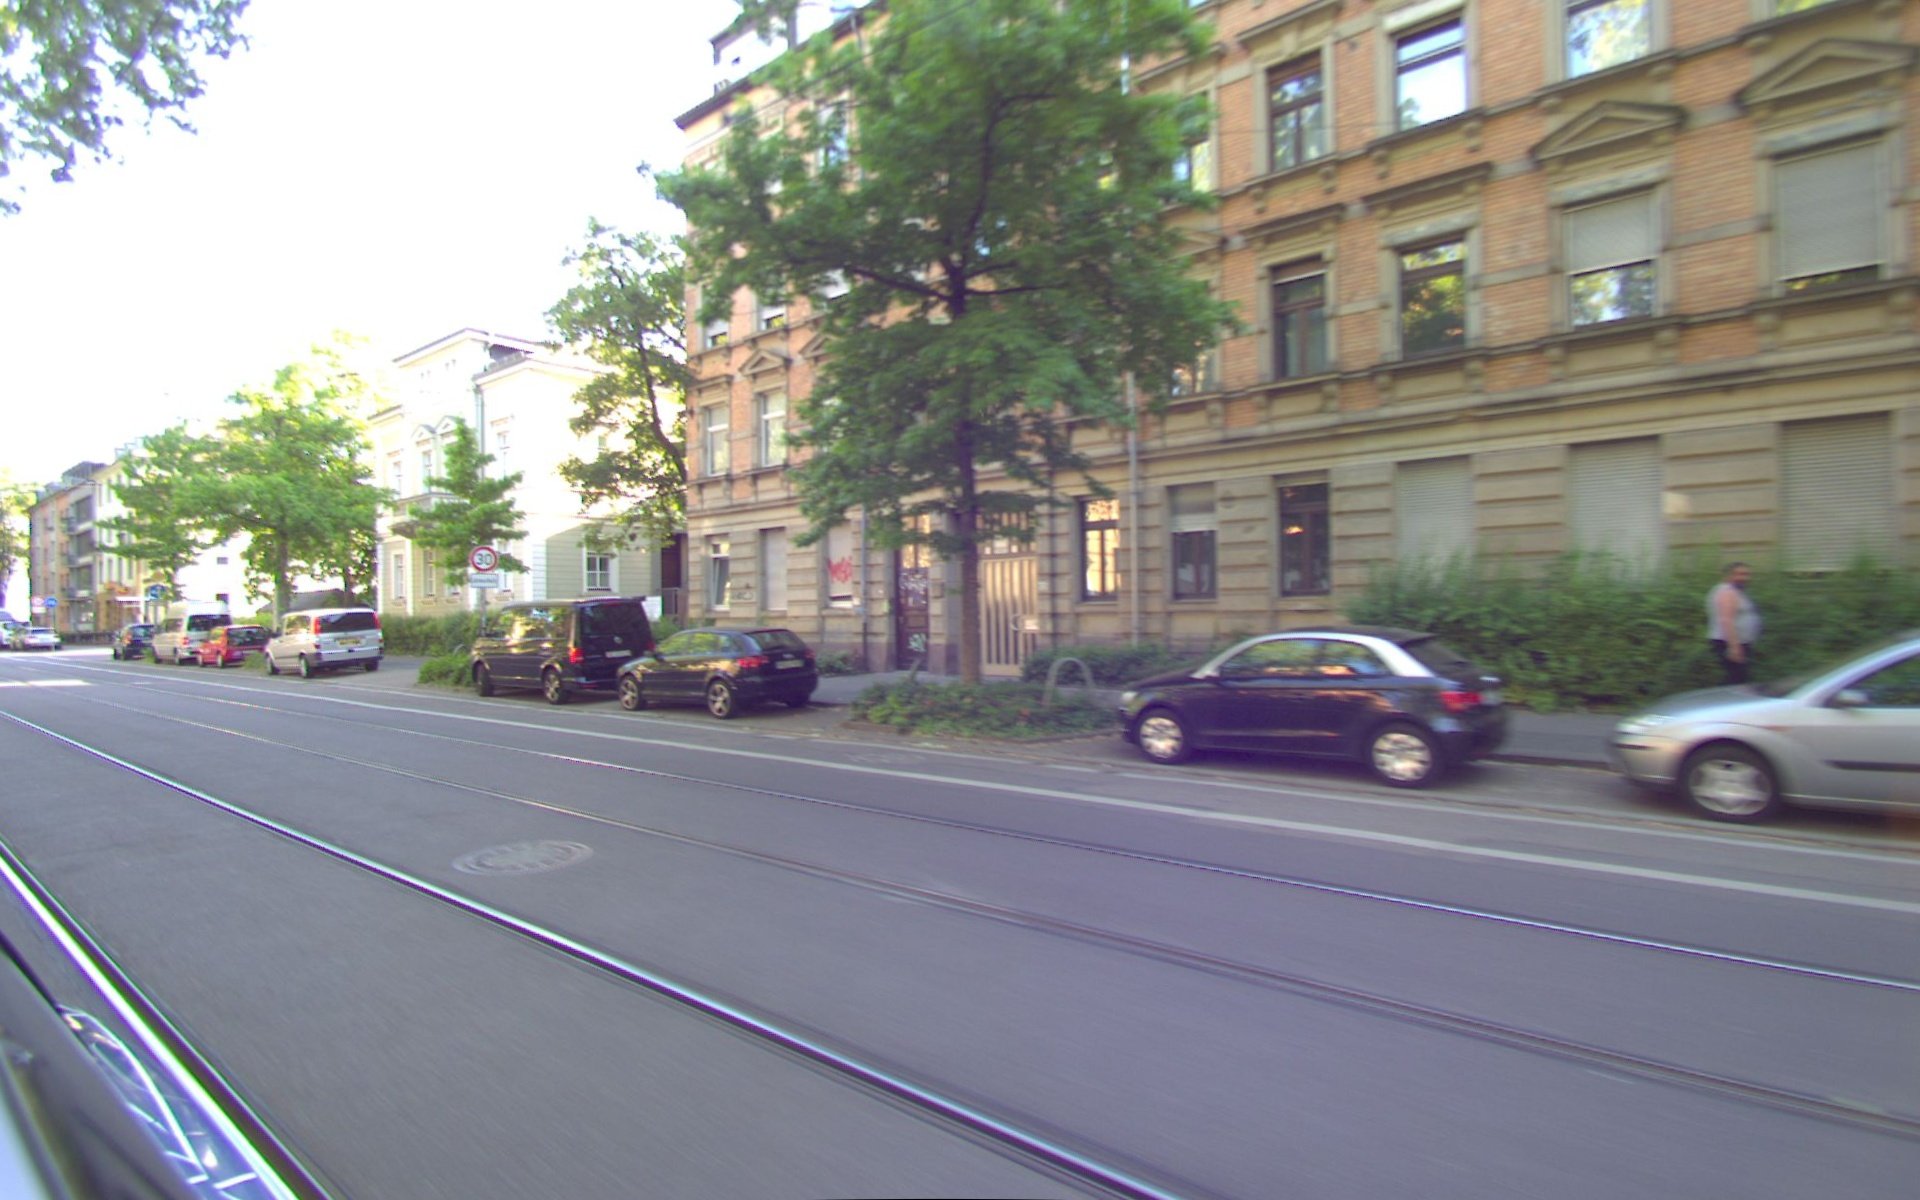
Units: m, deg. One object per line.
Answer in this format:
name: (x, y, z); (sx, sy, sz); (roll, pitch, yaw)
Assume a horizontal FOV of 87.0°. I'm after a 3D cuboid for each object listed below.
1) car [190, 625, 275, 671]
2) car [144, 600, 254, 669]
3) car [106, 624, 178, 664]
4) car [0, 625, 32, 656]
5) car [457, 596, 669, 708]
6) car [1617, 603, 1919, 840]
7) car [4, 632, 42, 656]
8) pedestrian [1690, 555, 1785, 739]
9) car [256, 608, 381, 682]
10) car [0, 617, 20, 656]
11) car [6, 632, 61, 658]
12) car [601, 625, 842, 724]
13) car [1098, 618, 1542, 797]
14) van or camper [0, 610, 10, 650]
car: (-26.338, 1.718, 36.623); (3.705, 1.551, 1.668); (-2, -2, 40)
car: (-30.062, 1.352, 39.914); (5.338, 2.527, 2.281); (-2, -2, 39)
car: (-37.056, 1.980, 45.809); (4.261, 1.703, 1.970); (-2, -2, 43)
car: (-66.134, 2.799, 70.229); (4.937, 2.062, 1.903); (-2, 0, 40)
car: (-8.206, 1.011, 20.708); (4.830, 2.029, 1.973); (-2, -2, 40)
car: (7.401, 0.801, 7.000); (4.537, 1.562, 1.681); (-2, -1, 44)
car: (-61.620, 2.876, 66.533); (2.881, 1.504, 1.554); (-2, 0, 41)
pedestrian: (8.264, 0.479, 10.758); (0.728, 1.861, 0.734); (-2, 0, 39)
car: (-19.026, 1.297, 29.915); (4.986, 2.004, 1.824); (-2, -2, 42)
car: (-70.635, 2.697, 74.214); (4.544, 2.766, 1.903); (-2, 2, 41)
car: (-58.020, 2.798, 63.359); (4.934, 1.504, 1.754); (-2, 0, 38)
car: (-4.165, 1.188, 17.334); (4.266, 1.469, 1.834); (-2, -2, 40)
car: (3.542, 0.954, 10.358); (3.946, 1.456, 1.641); (-2, -1, 40)
van or camper: (-75.678, 2.429, 78.419); (5.989, 2.999, 2.392); (-2, 2, 42)
